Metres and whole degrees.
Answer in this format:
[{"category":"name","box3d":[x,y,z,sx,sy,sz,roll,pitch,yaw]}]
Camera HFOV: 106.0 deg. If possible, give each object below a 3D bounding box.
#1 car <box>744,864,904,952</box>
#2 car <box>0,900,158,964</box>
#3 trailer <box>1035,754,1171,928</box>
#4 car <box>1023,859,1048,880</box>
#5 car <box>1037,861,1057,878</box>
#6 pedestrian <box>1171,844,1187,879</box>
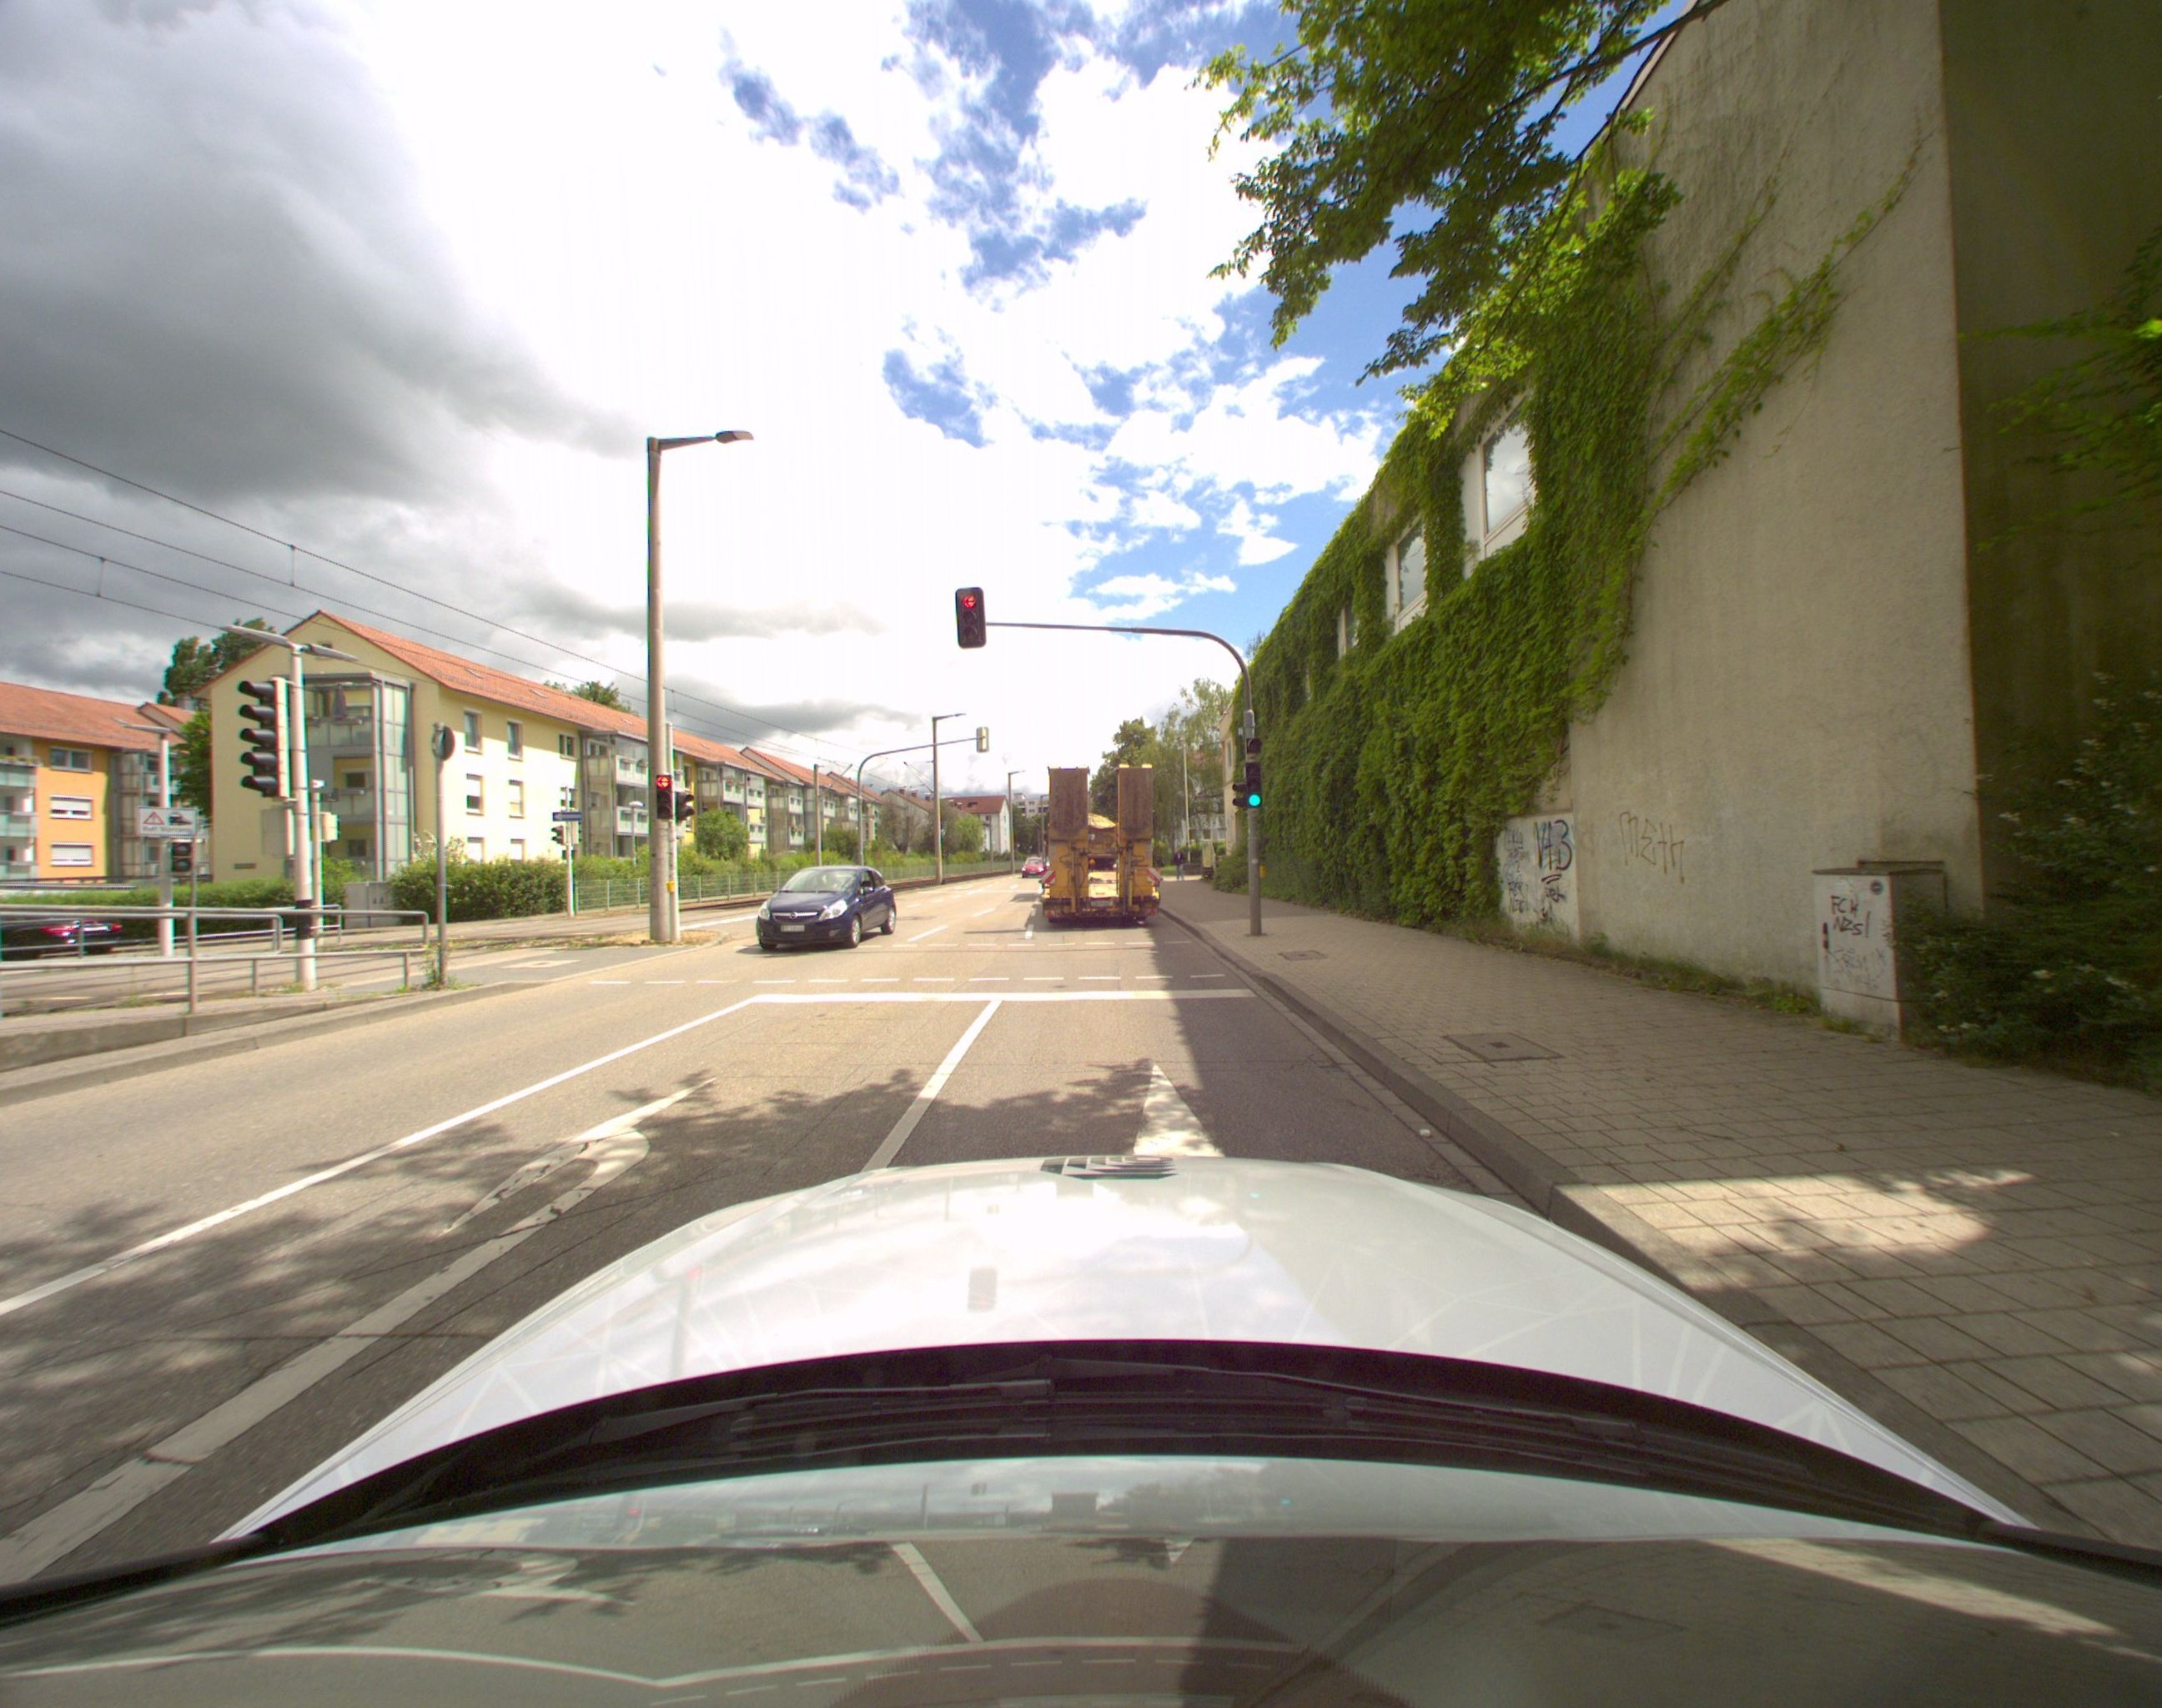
[{"category":"car","box3d":[-4.757,0.940,15.675,1.711,1.441,4.009,-1,-1,1]},{"category":"car","box3d":[-29.776,2.303,23.693,3.963,1.466,2.005,-6,-2,9]},{"category":"trailer","box3d":[0.123,-0.218,23.373,2.821,3.646,12.337,0,-1,-3]},{"category":"car","box3d":[-3.567,1.208,63.867,1.658,1.552,4.000,0,-1,1]},{"category":"car","box3d":[-3.265,1.467,79.326,1.755,1.552,3.998,-1,-1,-1]},{"category":"pedestrian","box3d":[5.033,0.373,41.941,0.805,1.771,0.818,0,-1,8]}]
